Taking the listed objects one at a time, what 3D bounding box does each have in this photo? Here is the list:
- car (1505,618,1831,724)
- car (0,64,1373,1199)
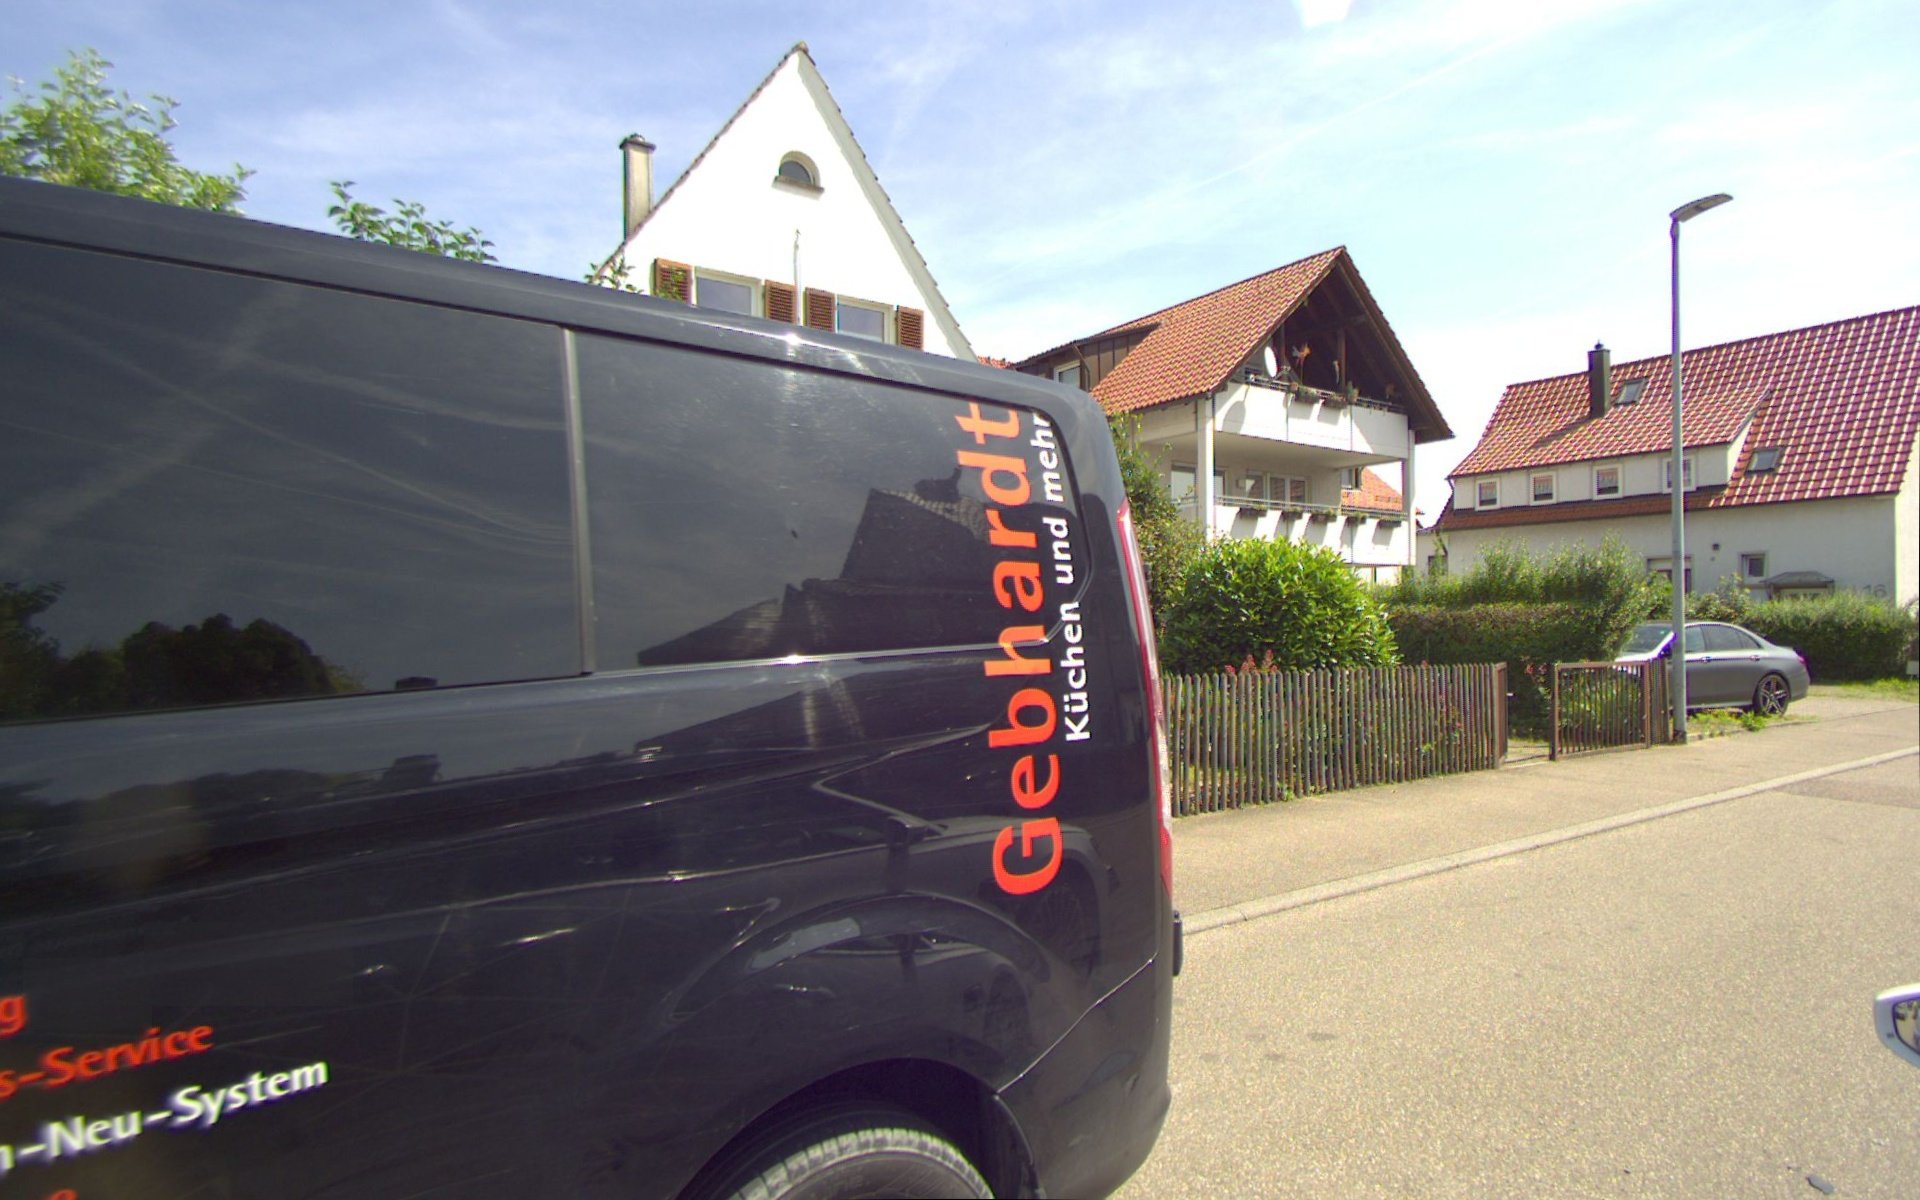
[{"bbox_3d":[10.916,1.036,15.524,4.491,1.451,1.825,1,-1,-19],"label":"car"},{"bbox_3d":[-1.572,0.492,1.650,4.648,1.978,1.956,1,0,-35],"label":"car"}]
